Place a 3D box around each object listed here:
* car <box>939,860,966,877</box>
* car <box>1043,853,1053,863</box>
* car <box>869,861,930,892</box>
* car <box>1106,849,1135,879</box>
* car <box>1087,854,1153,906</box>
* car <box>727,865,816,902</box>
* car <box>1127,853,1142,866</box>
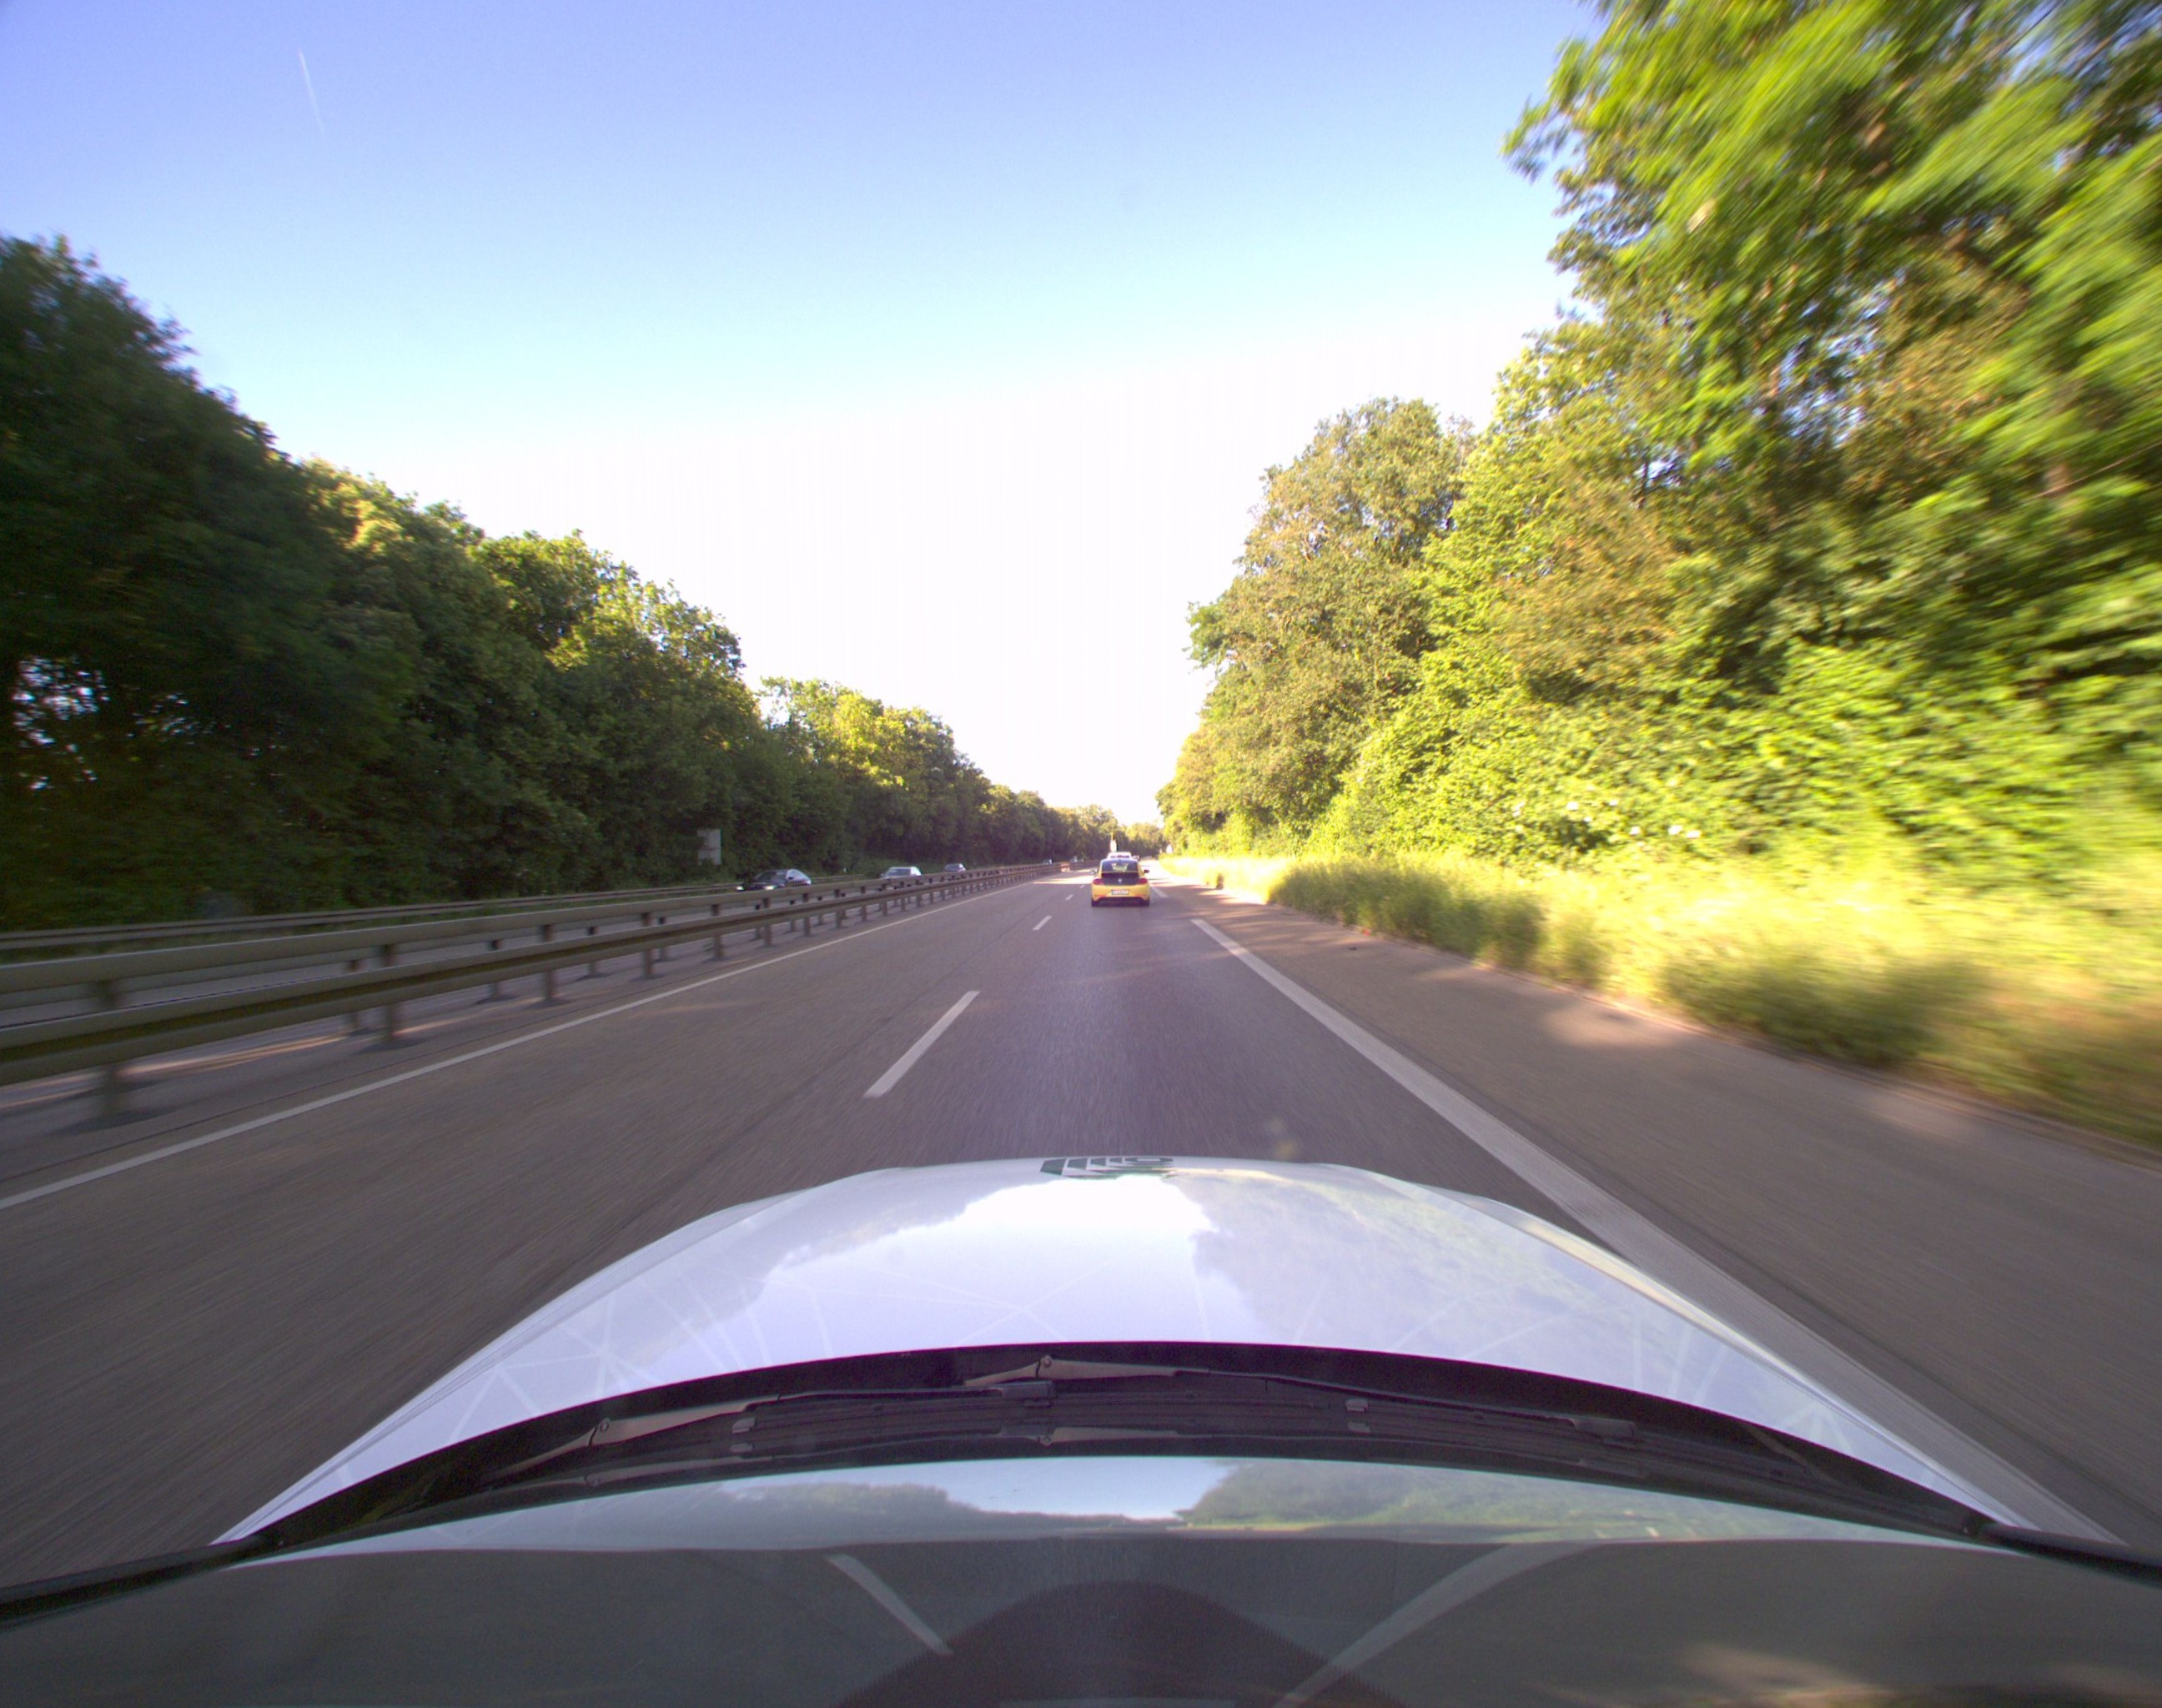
[{"bbox_3d":[-11.543,1.255,73.400,1.599,1.423,4.002,-1,0,2],"label":"car"},{"bbox_3d":[-5.887,0.710,144.482,1.408,1.619,2.878,-2,0,4],"label":"car"},{"bbox_3d":[-9.845,1.208,44.615,1.985,1.464,4.743,-3,0,3],"label":"car"},{"bbox_3d":[2.566,0.620,52.378,1.734,1.830,3.425,-1,0,3],"label":"car"},{"bbox_3d":[1.284,0.775,25.868,1.930,1.508,3.427,-1,0,5],"label":"car"},{"bbox_3d":[-14.261,1.312,37.855,1.985,1.464,4.906,-3,0,3],"label":"car"},{"bbox_3d":[8.518,0.875,129.662,2.254,1.875,5.080,-3,0,3],"label":"car"}]
